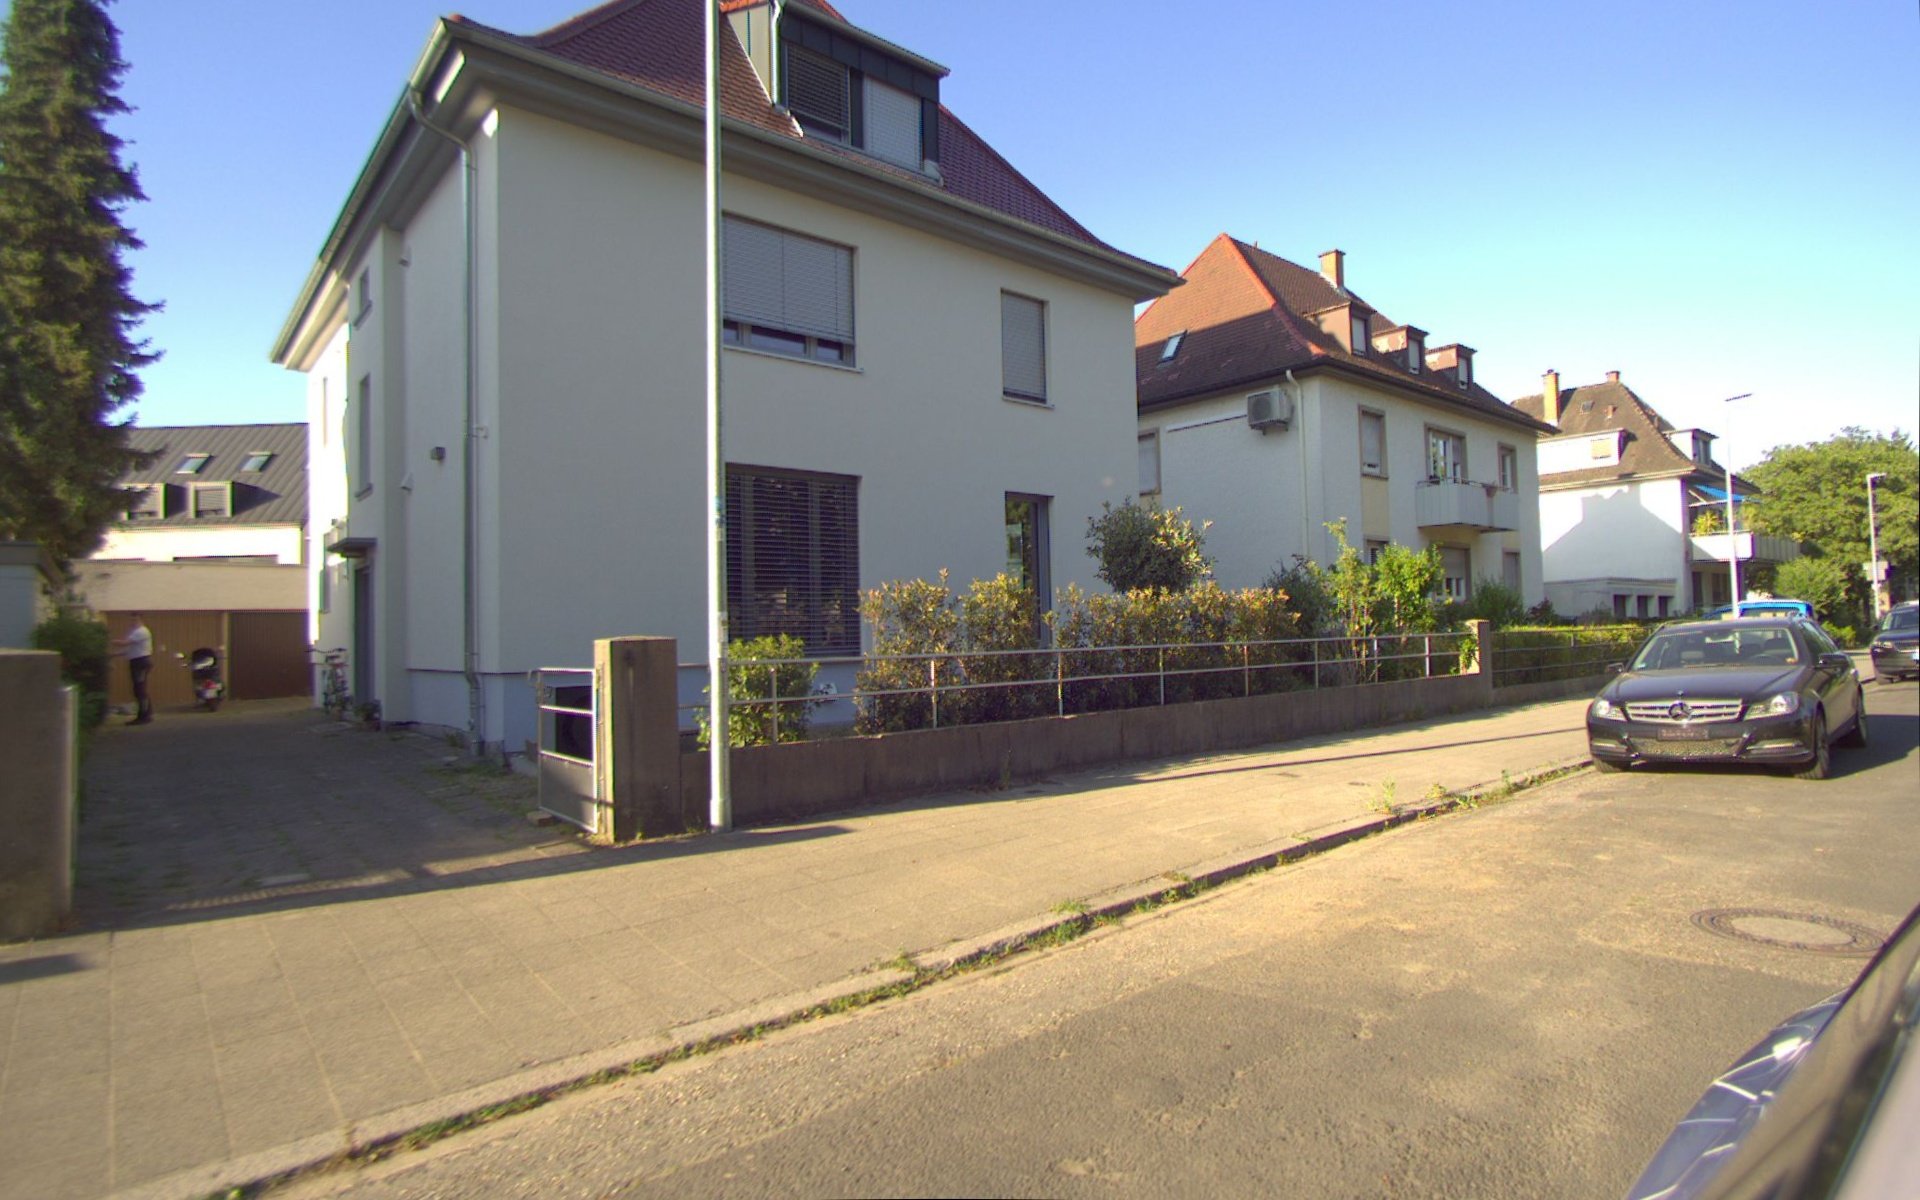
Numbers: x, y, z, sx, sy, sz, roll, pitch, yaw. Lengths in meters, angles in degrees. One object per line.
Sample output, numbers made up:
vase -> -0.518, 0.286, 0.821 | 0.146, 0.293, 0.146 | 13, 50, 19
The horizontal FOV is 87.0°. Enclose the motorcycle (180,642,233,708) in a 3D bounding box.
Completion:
motorcycle -> -15.801, 1.543, 21.200 | 0.730, 1.310, 1.871 | 0, -3, -42

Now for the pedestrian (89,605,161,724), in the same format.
pedestrian -> -13.727, 1.037, 16.649 | 0.881, 1.870, 0.879 | 0, -3, -41

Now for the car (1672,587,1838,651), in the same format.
car -> 26.071, 0.655, 33.268 | 1.966, 1.953, 3.989 | 1, -2, -43

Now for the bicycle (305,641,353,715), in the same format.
bicycle -> -10.392, 1.254, 16.646 | 0.399, 1.156, 1.723 | 1, -2, -42

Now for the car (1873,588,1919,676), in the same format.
car -> 21.258, 0.597, 21.721 | 4.391, 1.743, 1.859 | 0, -7, -42

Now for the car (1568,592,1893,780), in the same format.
car -> 7.982, 0.766, 10.323 | 4.322, 1.519, 1.781 | 0, -5, -42
